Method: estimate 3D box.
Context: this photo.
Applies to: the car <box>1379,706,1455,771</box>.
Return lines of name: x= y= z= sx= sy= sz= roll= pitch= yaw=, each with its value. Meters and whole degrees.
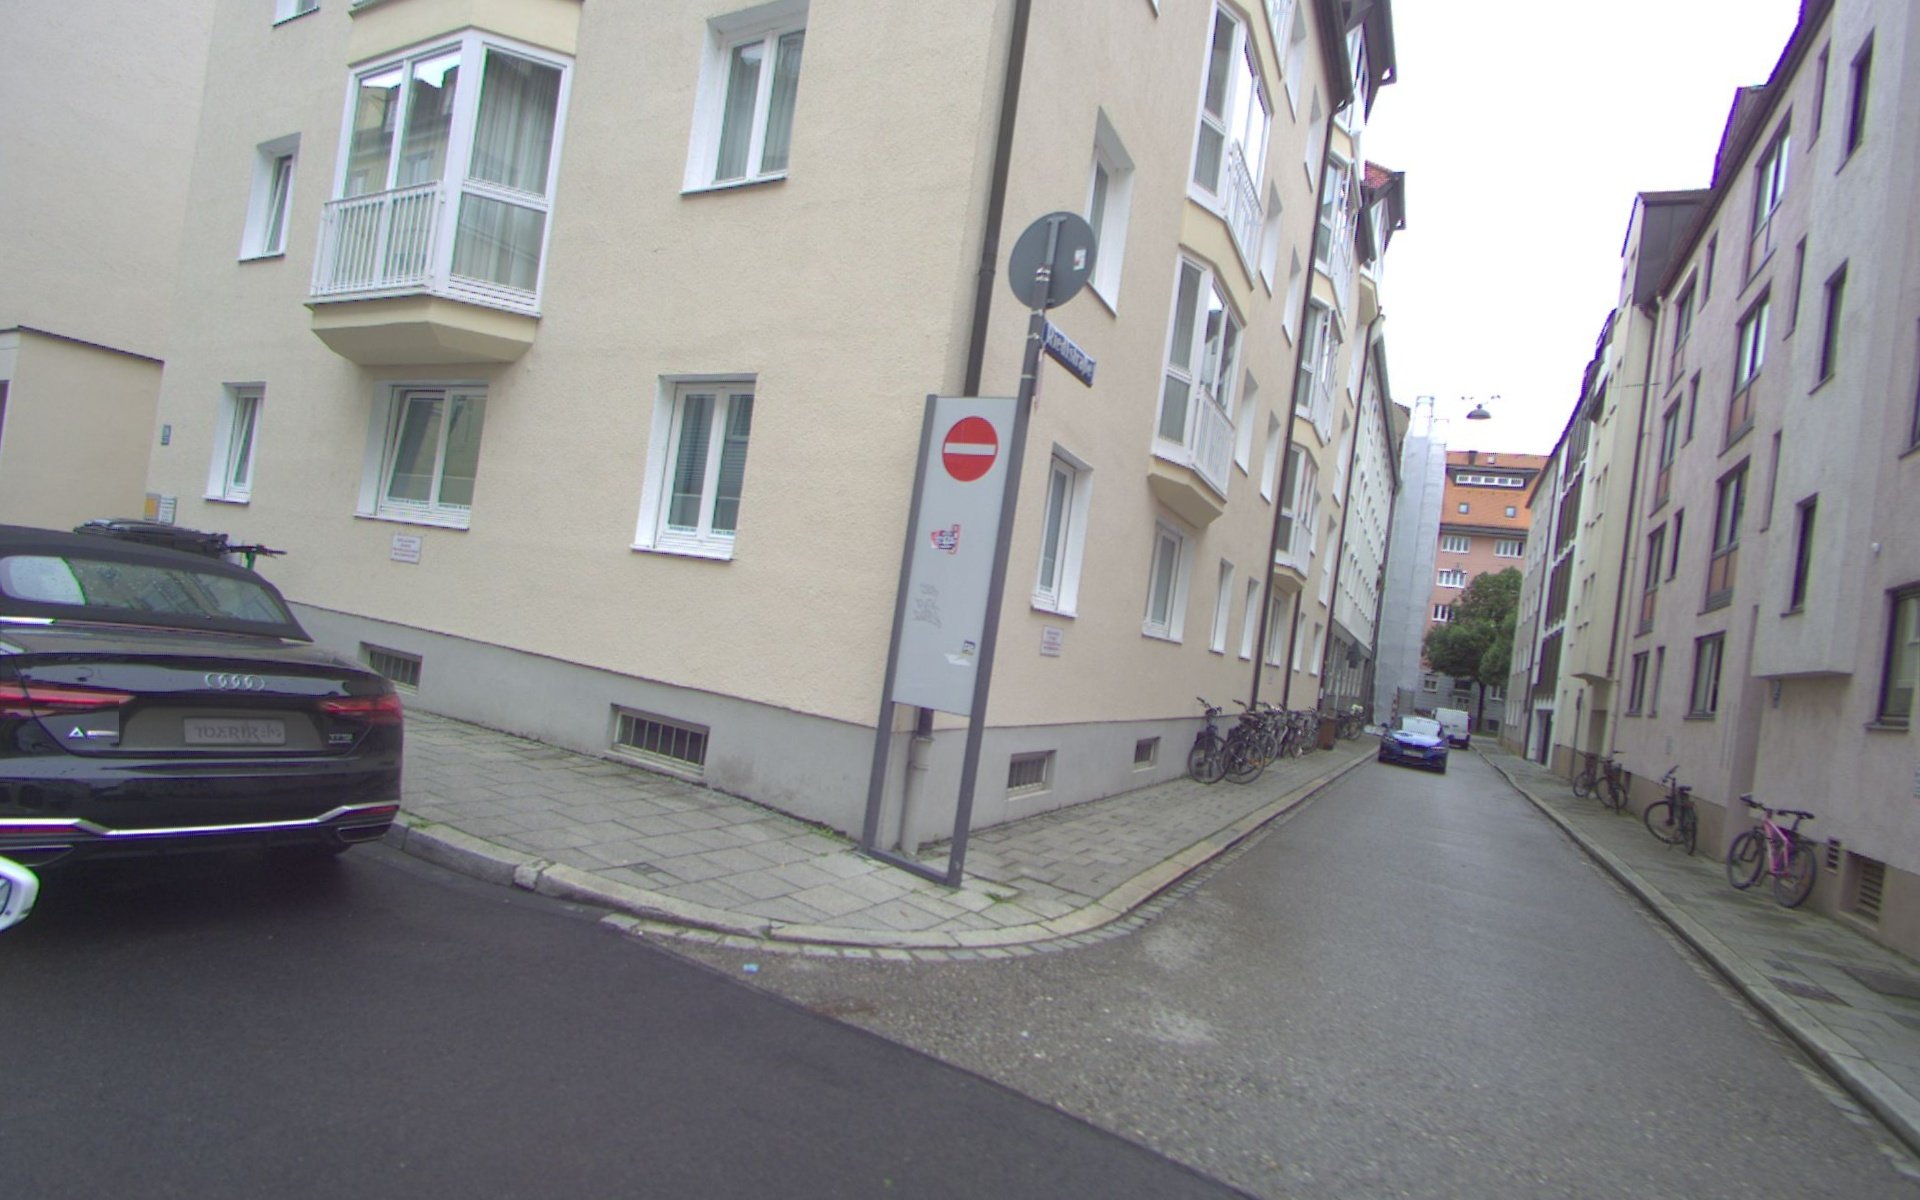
car: x=12.954 y=3.858 z=28.555 sx=1.707 sy=1.324 sz=3.732 roll=7 pitch=0 yaw=24

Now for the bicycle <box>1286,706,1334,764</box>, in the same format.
bicycle: x=7.969 y=3.059 z=22.968 sx=0.447 sy=1.100 sz=1.725 roll=8 pitch=-2 yaw=4

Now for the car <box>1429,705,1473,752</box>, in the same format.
car: x=25.017 y=6.502 z=51.322 sx=1.683 sy=1.879 sz=3.732 roll=7 pitch=0 yaw=24

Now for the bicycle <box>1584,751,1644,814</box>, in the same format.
bicycle: x=13.470 y=3.733 z=20.770 sx=0.638 sy=1.035 sz=1.909 roll=7 pitch=-2 yaw=24

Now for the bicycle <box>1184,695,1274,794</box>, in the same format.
bicycle: x=3.658 y=1.942 z=13.808 sx=0.448 sy=1.100 sz=1.722 roll=8 pitch=-1 yaw=-7

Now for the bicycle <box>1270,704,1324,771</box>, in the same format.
bicycle: x=6.648 y=2.687 z=19.900 sx=0.447 sy=1.100 sz=1.725 roll=8 pitch=-2 yaw=4

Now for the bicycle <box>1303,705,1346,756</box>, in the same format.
bicycle: x=9.358 y=3.342 z=25.870 sx=0.447 sy=1.100 sz=1.725 roll=8 pitch=-2 yaw=4

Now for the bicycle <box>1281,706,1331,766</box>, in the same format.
bicycle: x=7.458 y=2.913 z=21.756 sx=0.447 sy=1.100 sz=1.725 roll=8 pitch=-2 yaw=4

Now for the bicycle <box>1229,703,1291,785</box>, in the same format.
bicycle: x=4.851 y=2.301 z=16.351 sx=0.447 sy=1.100 sz=1.725 roll=8 pitch=-2 yaw=4

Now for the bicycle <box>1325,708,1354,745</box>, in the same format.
bicycle: x=11.927 y=3.957 z=31.574 sx=0.638 sy=1.035 sz=1.909 roll=7 pitch=-2 yaw=24

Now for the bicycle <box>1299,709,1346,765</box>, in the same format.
bicycle: x=8.565 y=3.215 z=23.834 sx=0.447 sy=1.100 sz=1.725 roll=8 pitch=-2 yaw=4

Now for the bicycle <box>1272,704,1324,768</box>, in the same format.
bicycle: x=6.971 y=2.790 z=20.825 sx=0.447 sy=1.100 sz=1.725 roll=8 pitch=-2 yaw=4

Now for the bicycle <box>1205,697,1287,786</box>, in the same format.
bicycle: x=4.349 y=2.128 z=15.407 sx=0.448 sy=1.100 sz=1.722 roll=8 pitch=-1 yaw=-7

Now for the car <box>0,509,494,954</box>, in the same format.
car: x=-4.493 y=0.321 z=4.974 sx=4.340 sy=1.421 sz=1.837 roll=6 pitch=-3 yaw=33

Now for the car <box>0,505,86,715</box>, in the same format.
car: x=-9.011 y=-0.198 z=7.894 sx=4.454 sy=1.487 sz=1.722 roll=7 pitch=-3 yaw=29

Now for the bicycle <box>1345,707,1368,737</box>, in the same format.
bicycle: x=15.659 y=4.811 z=39.683 sx=0.638 sy=1.035 sz=1.909 roll=7 pitch=-2 yaw=24

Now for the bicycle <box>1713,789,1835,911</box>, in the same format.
bicycle: x=8.967 y=2.717 z=11.147 sx=0.600 sy=1.002 sz=1.736 roll=7 pitch=-2 yaw=27

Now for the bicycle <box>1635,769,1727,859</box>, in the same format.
bicycle: x=10.750 y=3.162 z=15.070 sx=0.638 sy=1.035 sz=1.909 roll=7 pitch=-2 yaw=24

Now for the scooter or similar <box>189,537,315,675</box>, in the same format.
scooter or similar: x=-7.246 y=0.059 z=10.293 sx=1.118 sy=1.282 sz=0.576 roll=6 pitch=1 yaw=32

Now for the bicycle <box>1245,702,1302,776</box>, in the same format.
bicycle: x=5.541 y=2.442 z=17.877 sx=0.447 sy=1.100 sz=1.725 roll=8 pitch=-2 yaw=4

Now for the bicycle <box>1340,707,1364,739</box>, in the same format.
bicycle: x=14.529 y=4.528 z=37.235 sx=0.638 sy=1.035 sz=1.909 roll=7 pitch=-2 yaw=24

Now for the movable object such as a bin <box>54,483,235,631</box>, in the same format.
movable object such as a bin: x=-9.102 y=-0.478 z=11.226 sx=1.560 sy=1.441 sz=1.033 roll=6 pitch=0 yaw=32

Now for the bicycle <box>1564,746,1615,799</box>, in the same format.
bicycle: x=14.932 y=4.073 z=23.901 sx=0.638 sy=1.035 sz=1.909 roll=7 pitch=-2 yaw=24

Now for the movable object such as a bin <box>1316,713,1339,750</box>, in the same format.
movable object such as a bin: x=10.280 y=3.669 z=28.138 sx=0.499 sy=0.947 sz=0.479 roll=7 pitch=-1 yaw=21
